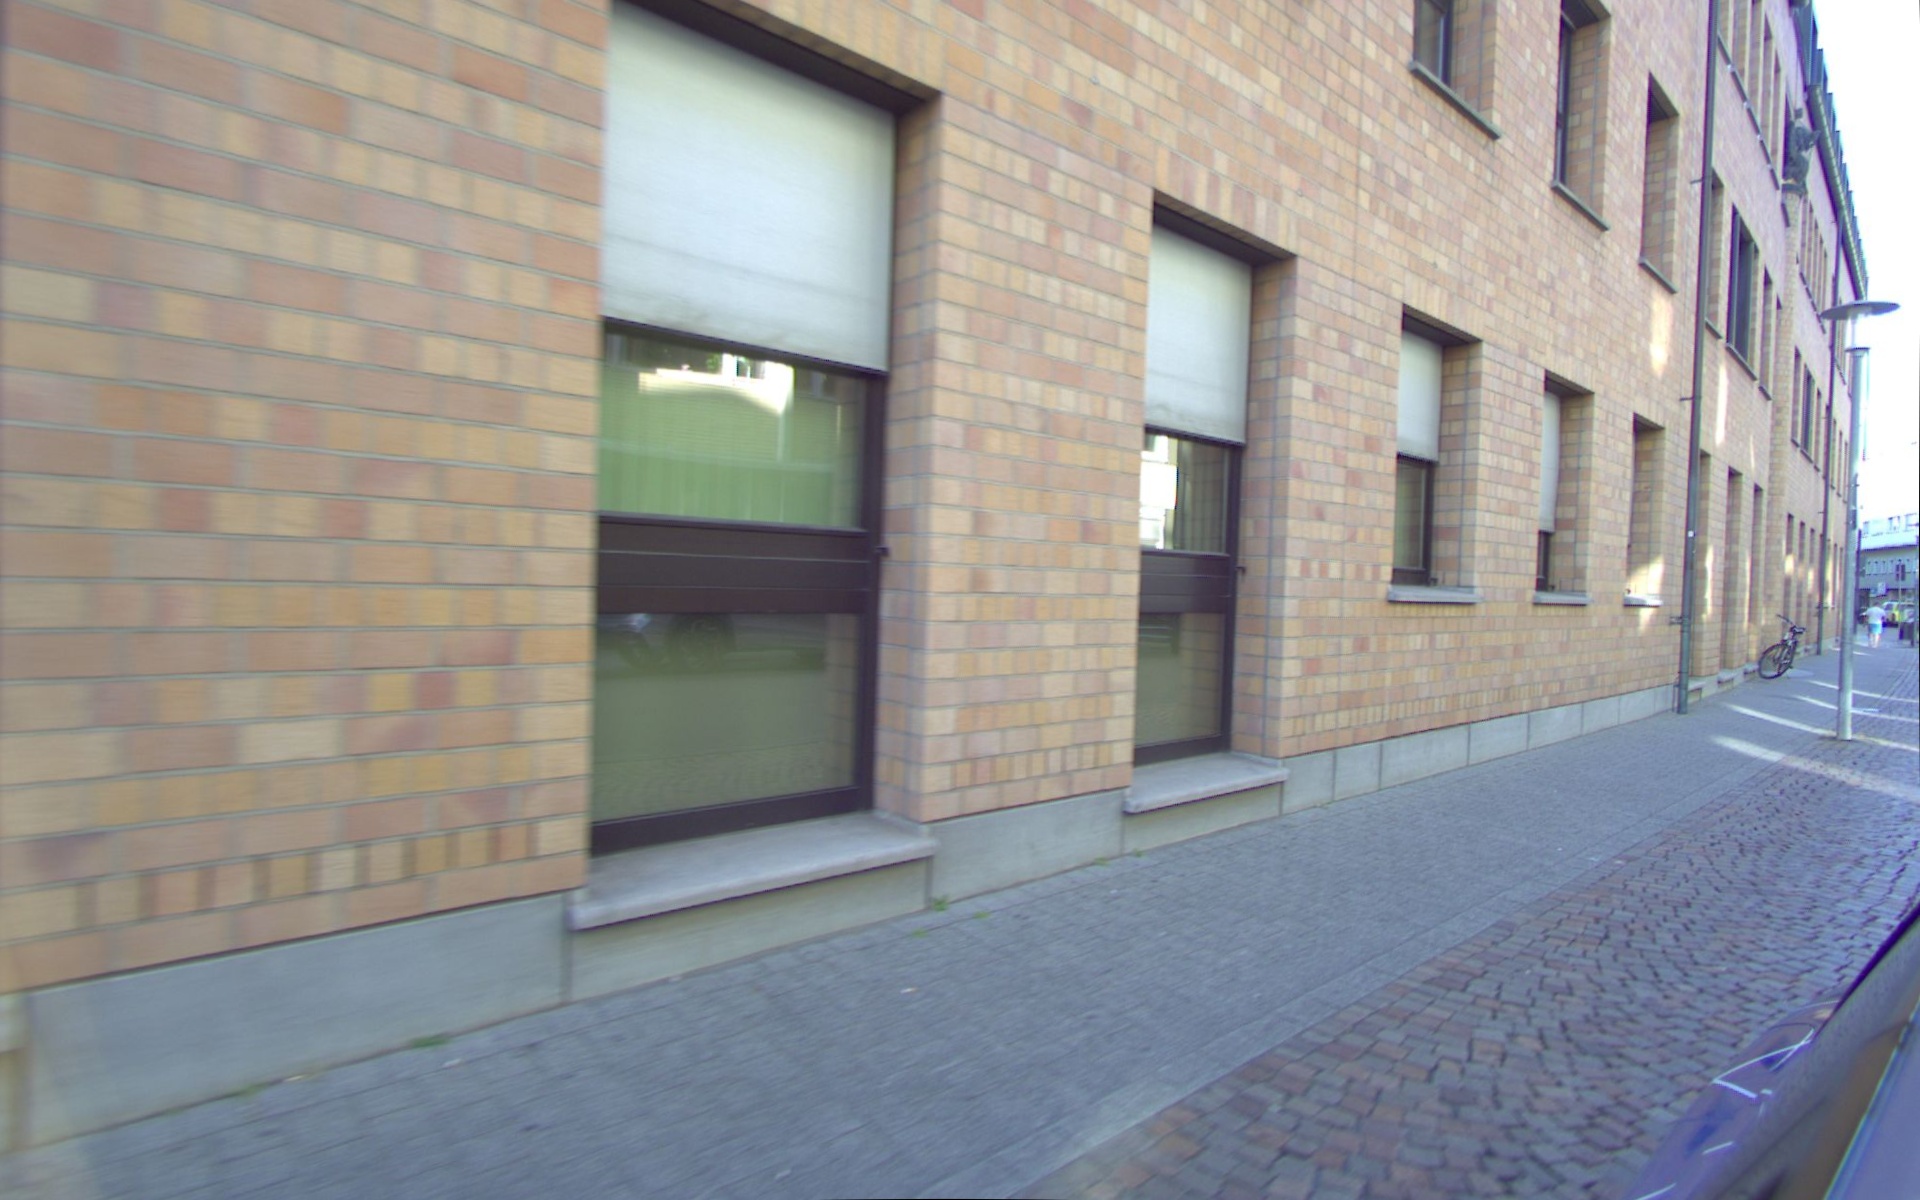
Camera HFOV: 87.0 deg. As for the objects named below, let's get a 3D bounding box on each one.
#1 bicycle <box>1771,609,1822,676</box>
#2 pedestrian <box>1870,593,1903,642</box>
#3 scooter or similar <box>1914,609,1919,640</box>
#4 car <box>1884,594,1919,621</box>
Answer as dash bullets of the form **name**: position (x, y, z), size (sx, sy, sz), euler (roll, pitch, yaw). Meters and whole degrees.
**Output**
- **bicycle**: position (15.443, 0.762, 18.664), size (0.550, 1.116, 1.952), euler (7, 4, 42)
- **pedestrian**: position (34.003, 0.638, 37.123), size (0.761, 1.737, 0.808), euler (5, 3, 45)
- **scooter or similar**: position (39.526, 0.996, 40.966), size (1.390, 1.251, 0.539), euler (1, 0, -8)
- **car**: position (71.487, 0.557, 76.255), size (1.875, 1.896, 3.957), euler (5, 3, 30)
